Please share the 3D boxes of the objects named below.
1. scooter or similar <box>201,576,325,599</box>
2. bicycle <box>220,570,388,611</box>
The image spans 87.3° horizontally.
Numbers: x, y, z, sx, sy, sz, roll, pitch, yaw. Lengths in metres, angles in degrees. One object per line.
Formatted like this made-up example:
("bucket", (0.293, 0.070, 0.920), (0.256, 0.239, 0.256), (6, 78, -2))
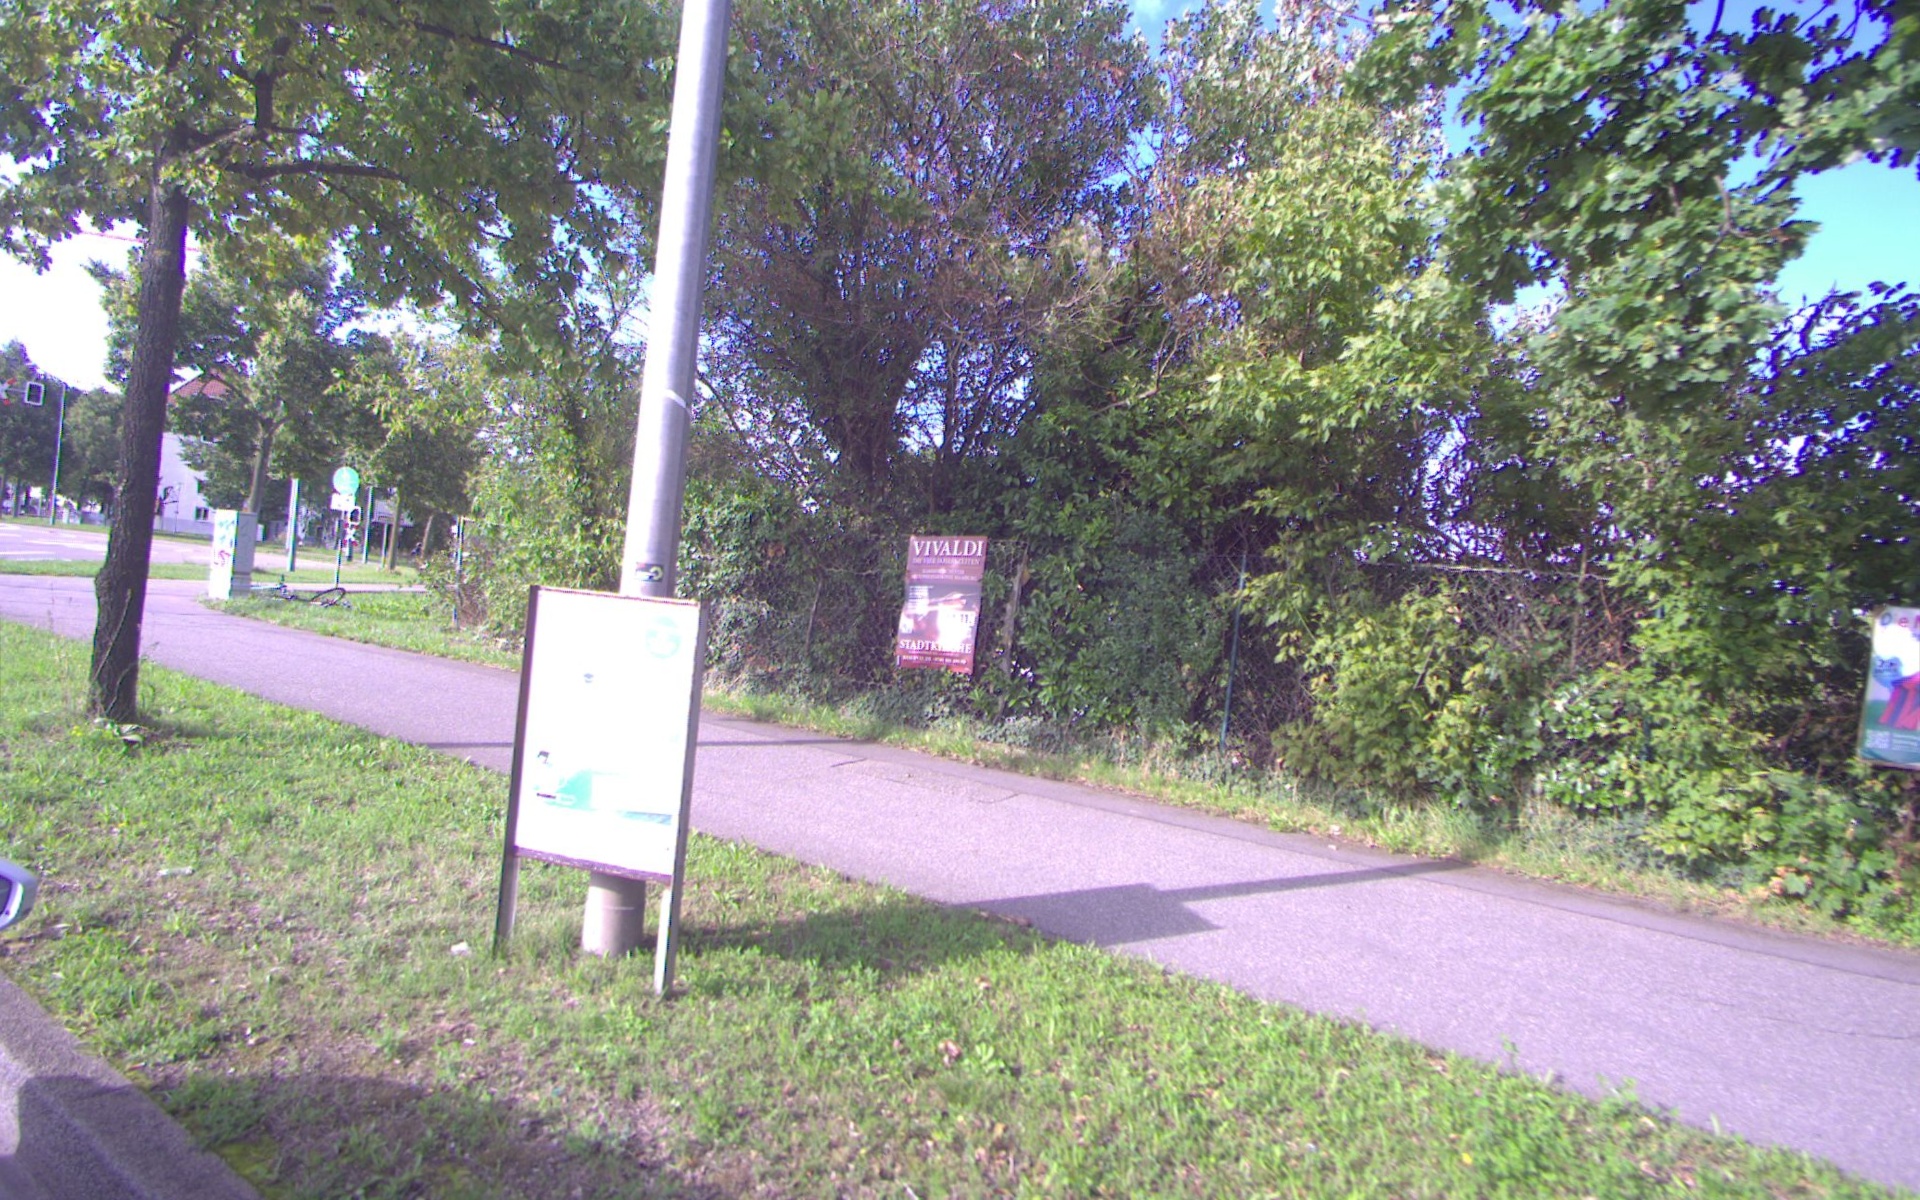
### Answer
("scooter or similar", (-13.636, -0.237, 19.731), (1.268, 0.284, 1.554), (6, 0, 7))
("bicycle", (-11.508, -0.154, 17.725), (2.210, 0.350, 1.090), (9, -1, -2))
